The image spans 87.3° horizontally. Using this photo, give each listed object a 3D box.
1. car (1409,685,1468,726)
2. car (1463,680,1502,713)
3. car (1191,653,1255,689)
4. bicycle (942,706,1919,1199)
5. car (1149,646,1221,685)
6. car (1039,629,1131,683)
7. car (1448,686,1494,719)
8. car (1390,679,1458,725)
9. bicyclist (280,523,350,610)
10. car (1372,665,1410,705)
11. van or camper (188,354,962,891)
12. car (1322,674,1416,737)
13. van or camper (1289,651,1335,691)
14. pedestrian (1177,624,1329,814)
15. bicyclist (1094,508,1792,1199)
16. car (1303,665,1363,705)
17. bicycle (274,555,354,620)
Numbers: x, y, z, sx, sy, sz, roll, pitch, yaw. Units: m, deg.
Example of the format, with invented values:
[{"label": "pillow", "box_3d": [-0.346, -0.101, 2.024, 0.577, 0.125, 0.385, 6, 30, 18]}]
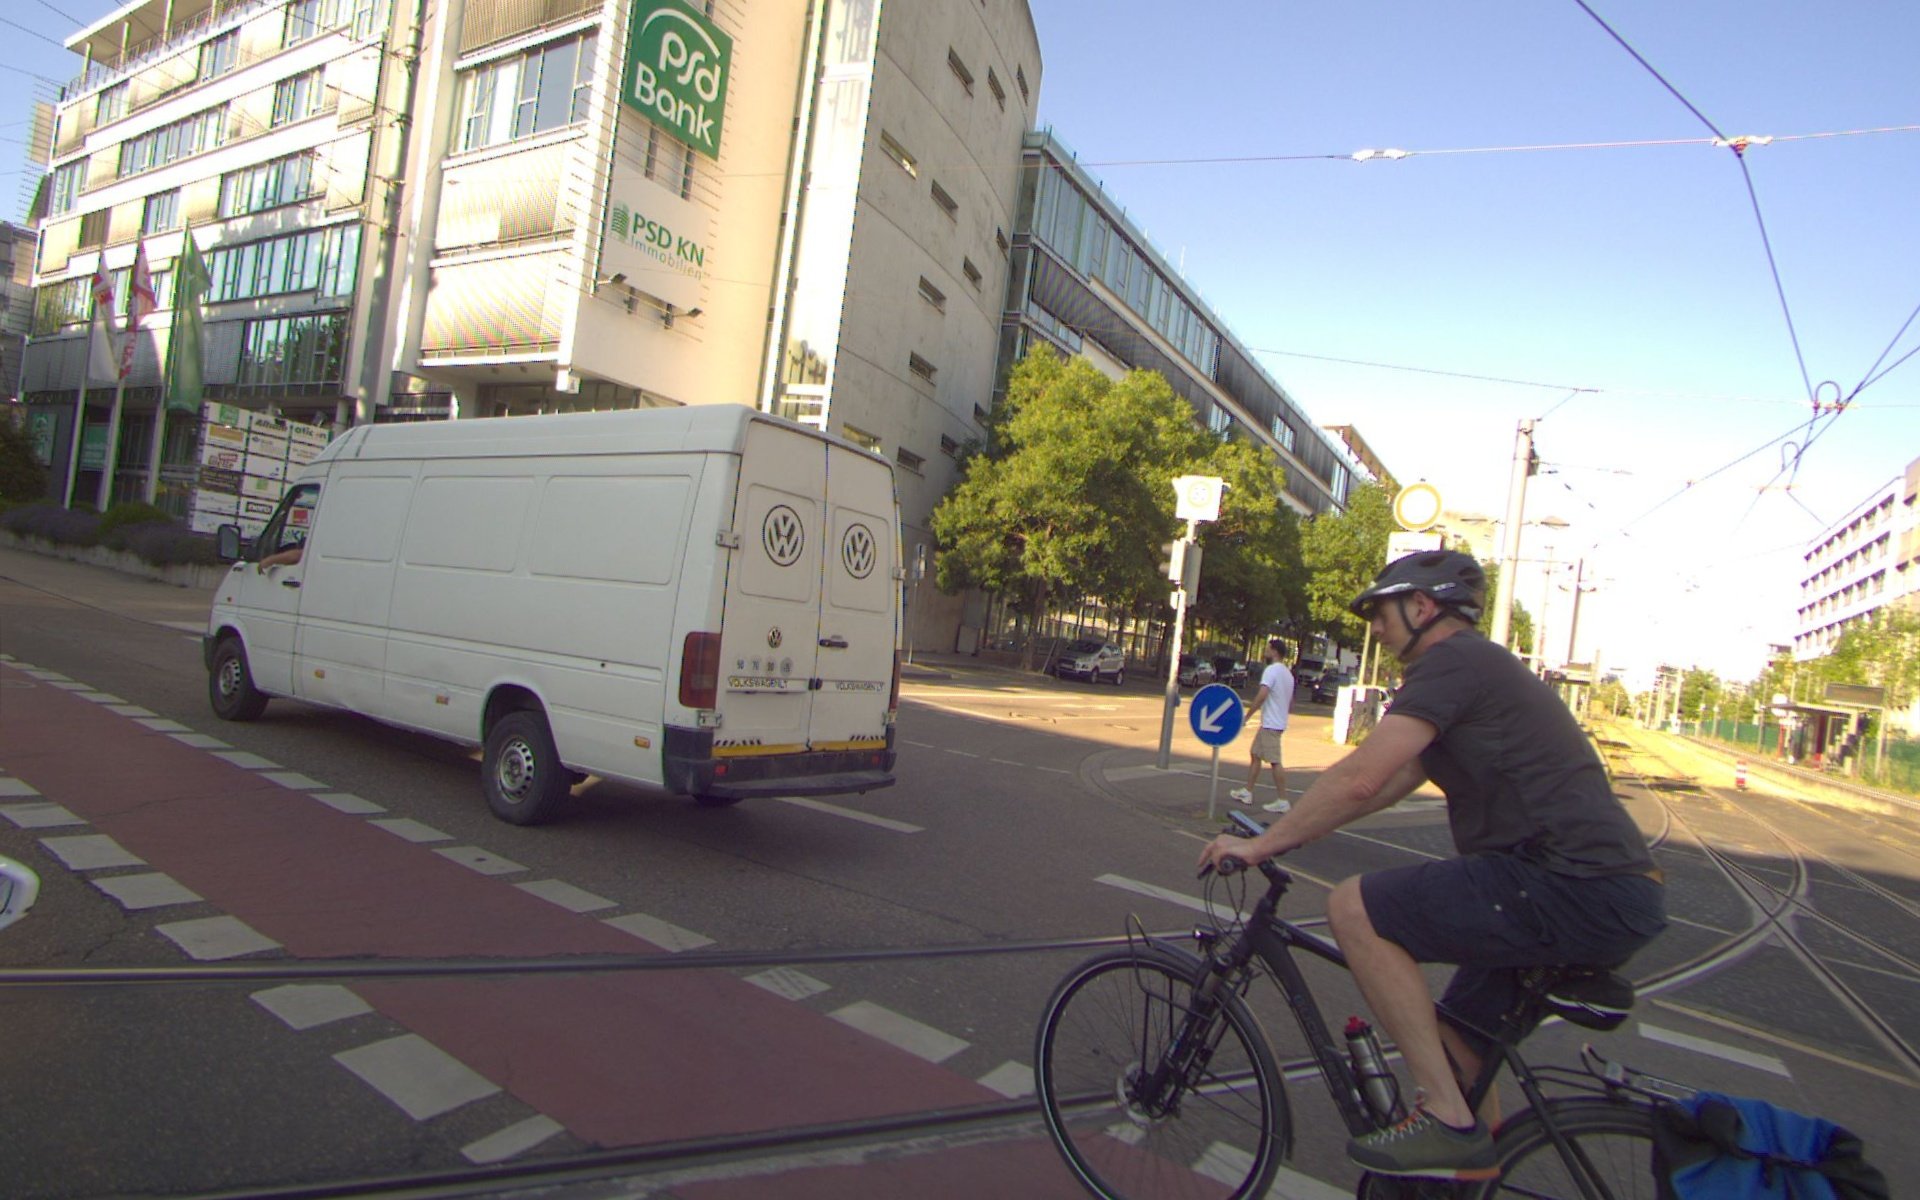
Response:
[{"label": "car", "box_3d": [22.868, 5.045, 48.033, 1.967, 1.620, 3.993, 7, -2, 32]}, {"label": "car", "box_3d": [36.357, 6.735, 69.971, 1.967, 1.944, 3.993, 7, -2, 32]}, {"label": "car", "box_3d": [14.230, 3.845, 54.249, 1.955, 1.512, 4.395, 7, -1, 32]}, {"label": "bicycle", "box_3d": [0.980, 1.029, 2.202, 1.936, 1.296, 0.650, 7, -1, 38]}, {"label": "car", "box_3d": [11.047, 3.232, 49.204, 1.955, 1.512, 4.395, 7, -1, 32]}, {"label": "car", "box_3d": [4.953, 2.234, 39.461, 1.955, 1.715, 3.993, 7, -1, 32]}, {"label": "car", "box_3d": [30.599, 6.134, 60.217, 1.967, 1.620, 3.993, 7, -2, 32]}, {"label": "car", "box_3d": [19.742, 4.336, 42.721, 1.967, 1.620, 3.993, 7, -2, 32]}, {"label": "bicyclist", "box_3d": [-12.999, -0.677, 20.276, 1.071, 1.623, 0.721, 7, 2, 35]}, {"label": "car", "box_3d": [34.878, 6.903, 81.367, 2.020, 2.703, 5.017, 7, -3, 30]}, {"label": "van or camper", "box_3d": [-3.263, -0.081, 7.644, 6.203, 2.747, 1.972, 7, -2, 34]}, {"label": "car", "box_3d": [13.058, 3.354, 32.012, 1.967, 1.631, 3.993, 7, -2, 32]}, {"label": "van or camper", "box_3d": [25.199, 5.105, 71.889, 1.955, 2.533, 4.395, 7, -1, 32]}, {"label": "pedestrian", "box_3d": [3.202, 1.271, 11.020, 1.197, 1.845, 0.777, 7, 0, 38]}, {"label": "bicyclist", "box_3d": [1.009, 0.678, 2.203, 1.072, 1.622, 0.650, 7, 0, 38]}, {"label": "car", "box_3d": [19.399, 4.432, 52.238, 1.954, 1.716, 3.993, 9, 0, 32]}, {"label": "bicycle", "box_3d": [-13.040, -0.256, 20.292, 1.723, 1.113, 0.696, 7, 3, 35]}]
